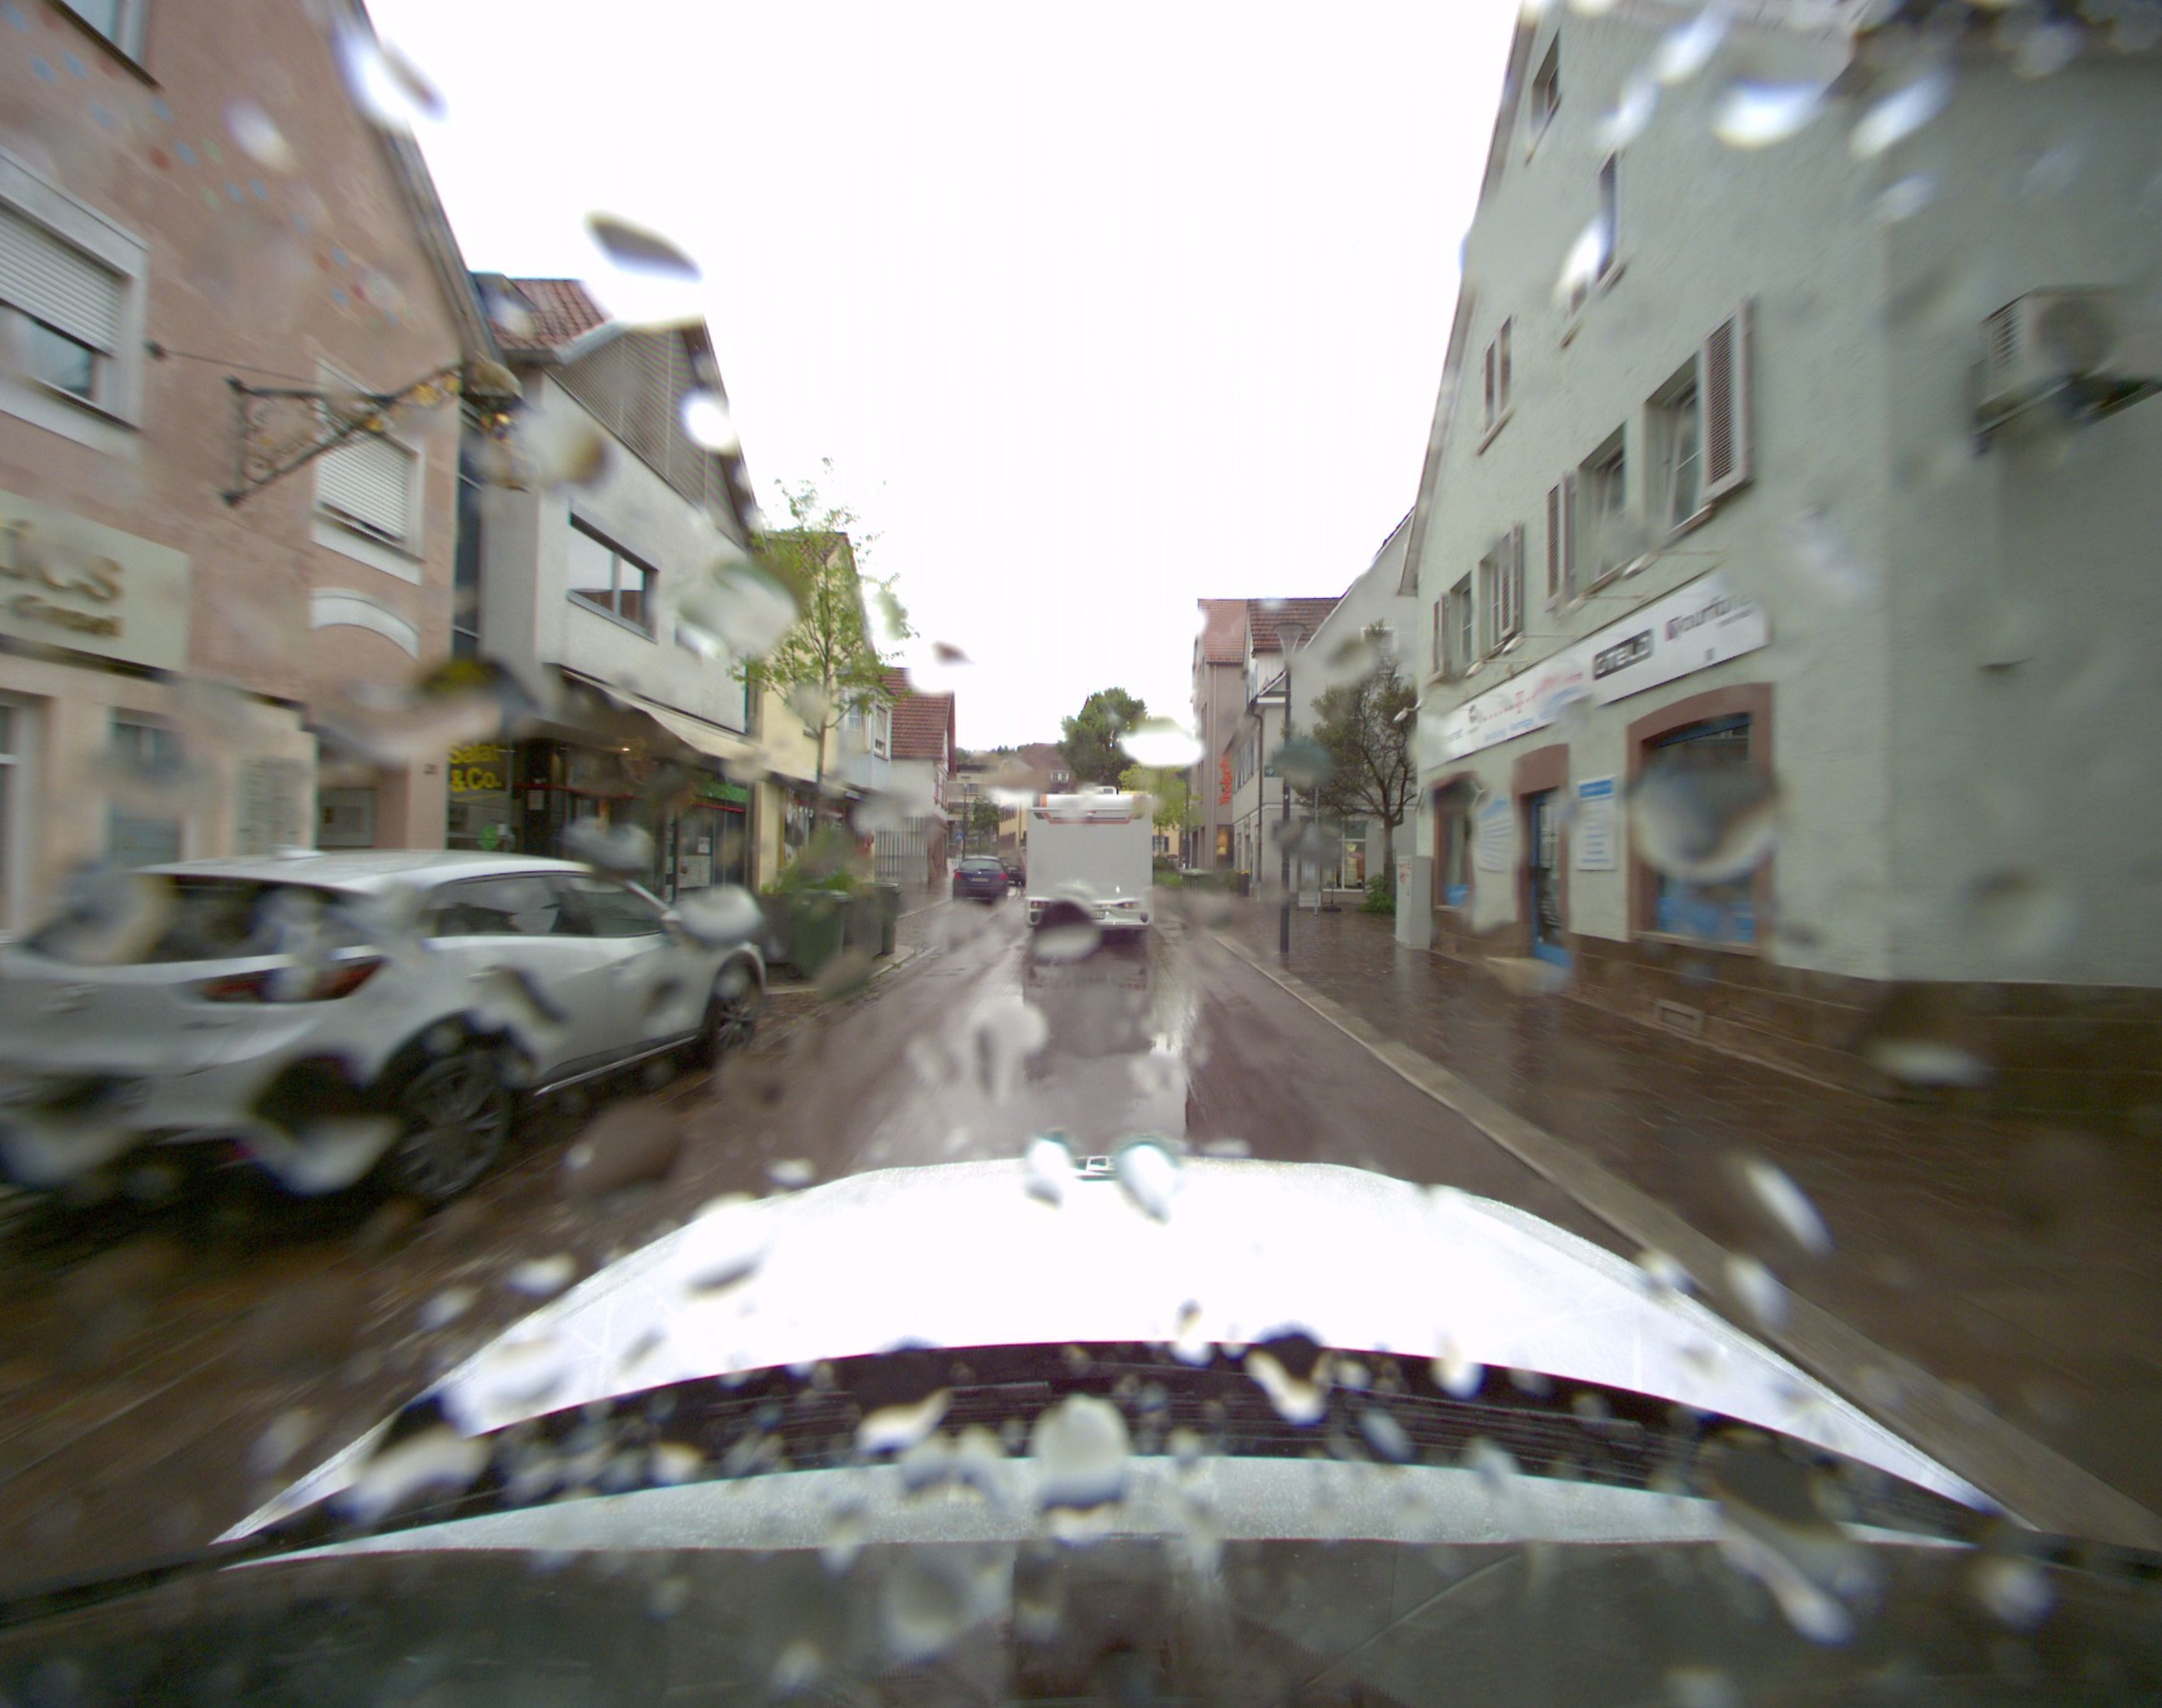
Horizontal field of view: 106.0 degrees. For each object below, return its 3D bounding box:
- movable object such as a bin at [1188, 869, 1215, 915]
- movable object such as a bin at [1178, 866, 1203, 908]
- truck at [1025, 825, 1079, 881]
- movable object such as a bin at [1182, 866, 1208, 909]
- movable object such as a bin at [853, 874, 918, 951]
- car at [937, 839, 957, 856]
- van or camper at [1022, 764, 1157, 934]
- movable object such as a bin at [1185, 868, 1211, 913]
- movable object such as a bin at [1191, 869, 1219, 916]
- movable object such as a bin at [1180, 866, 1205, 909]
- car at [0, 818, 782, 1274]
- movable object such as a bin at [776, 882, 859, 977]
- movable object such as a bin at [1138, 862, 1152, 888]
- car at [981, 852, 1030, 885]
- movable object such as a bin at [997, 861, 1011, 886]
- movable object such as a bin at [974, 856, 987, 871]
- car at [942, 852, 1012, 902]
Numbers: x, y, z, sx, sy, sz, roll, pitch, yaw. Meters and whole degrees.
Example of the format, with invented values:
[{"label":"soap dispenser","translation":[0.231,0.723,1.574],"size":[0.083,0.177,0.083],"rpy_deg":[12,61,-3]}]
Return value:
[{"label":"movable object such as a bin","translation":[3.311,1.042,22.395],"size":[0.656,1.245,0.543],"rpy_deg":[0,-1,1]},{"label":"movable object such as a bin","translation":[3.323,0.988,24.746],"size":[0.675,1.241,0.731],"rpy_deg":[0,-1,1]},{"label":"truck","translation":[-1.710,-0.001,45.956],"size":[2.460,2.939,6.181],"rpy_deg":[0,-1,-8]},{"label":"movable object such as a bin","translation":[3.299,0.968,23.517],"size":[0.675,1.232,0.565],"rpy_deg":[0,-1,1]},{"label":"movable object such as a bin","translation":[-3.006,0.892,12.574],"size":[0.813,1.106,0.609],"rpy_deg":[3,-2,-3]},{"label":"car","translation":[-17.322,-0.788,105.343],"size":[1.998,2.014,3.977],"rpy_deg":[1,-1,-17]},{"label":"van or camper","translation":[0.093,-0.024,17.185],"size":[2.319,2.919,6.389],"rpy_deg":[0,-1,-1]},{"label":"movable object such as a bin","translation":[3.294,1.018,22.951],"size":[0.675,1.256,0.543],"rpy_deg":[0,-1,1]},{"label":"movable object such as a bin","translation":[3.309,1.033,21.809],"size":[0.656,1.239,0.621],"rpy_deg":[0,-1,1]},{"label":"movable object such as a bin","translation":[3.302,0.977,24.092],"size":[0.675,1.250,0.565],"rpy_deg":[0,-1,1]},{"label":"car","translation":[-3.516,0.695,4.834],"size":[1.820,1.566,4.002],"rpy_deg":[0,-1,3]},{"label":"movable object such as a bin","translation":[-3.188,0.893,9.904],"size":[0.813,1.106,0.609],"rpy_deg":[0,-1,-4]},{"label":"movable object such as a bin","translation":[2.831,0.925,35.989],"size":[0.542,1.156,0.576],"rpy_deg":[0,-1,-2]},{"label":"car","translation":[-3.891,0.710,41.523],"size":[1.995,1.494,3.983],"rpy_deg":[2,0,-12]},{"label":"movable object such as a bin","translation":[-3.565,0.908,37.563],"size":[0.629,1.113,0.732],"rpy_deg":[0,-1,-7]},{"label":"movable object such as a bin","translation":[-7.046,0.679,56.973],"size":[0.819,1.051,0.696],"rpy_deg":[0,-1,-14]},{"label":"car","translation":[-3.310,0.690,26.616],"size":[1.990,1.472,3.994],"rpy_deg":[1,0,-4]}]
